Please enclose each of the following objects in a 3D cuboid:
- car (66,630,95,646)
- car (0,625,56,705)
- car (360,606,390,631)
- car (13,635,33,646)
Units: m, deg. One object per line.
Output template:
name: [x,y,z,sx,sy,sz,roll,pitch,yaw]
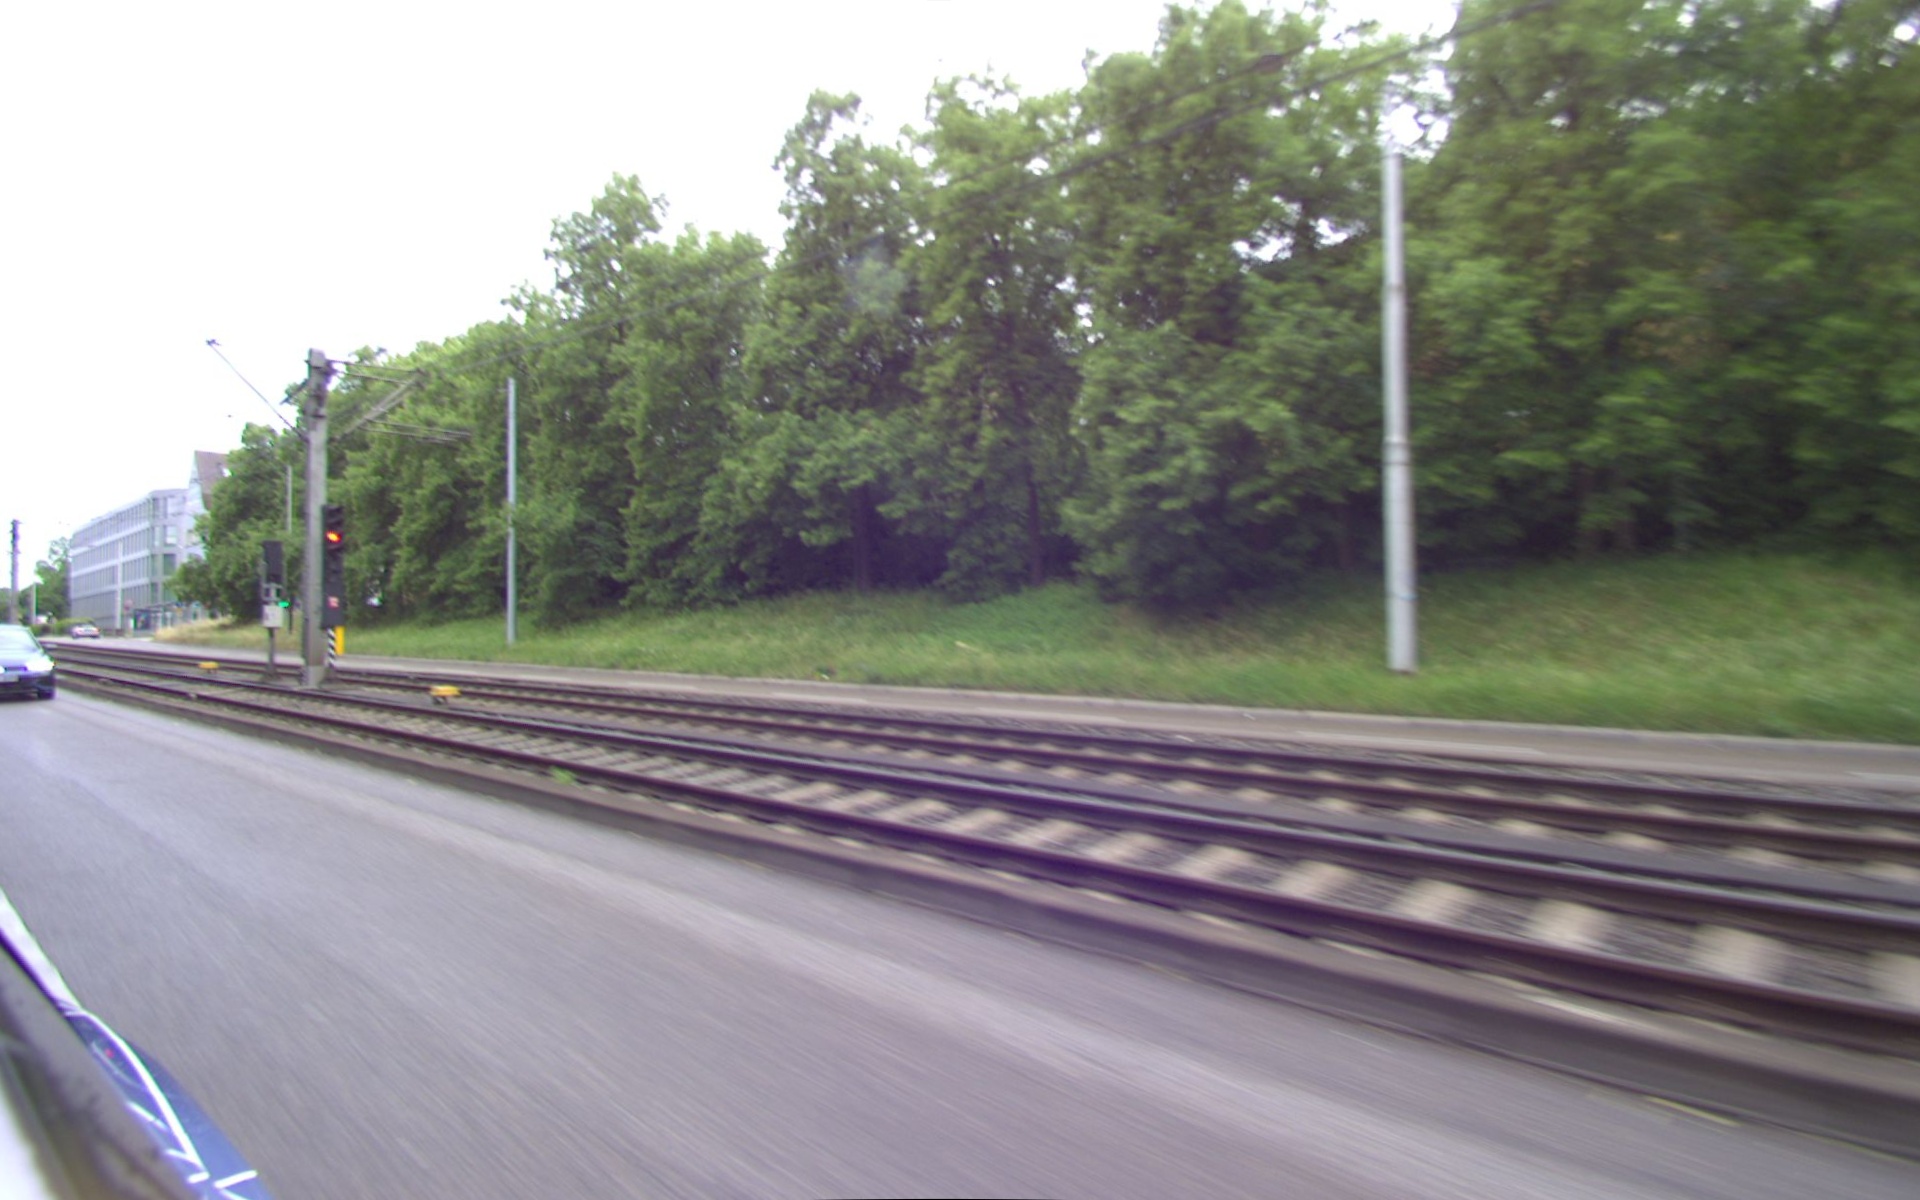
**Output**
car: [-81.685,3.531,93.994,3.908,1.447,1.460,-2,-4,42]
car: [-19.088,1.228,19.711,3.832,1.459,1.747,-2,-2,41]
car: [-49.830,1.620,86.170,1.934,2.029,4.228,1,-2,-33]
car: [-129.334,5.564,139.655,4.379,1.541,1.635,-2,-2,42]
